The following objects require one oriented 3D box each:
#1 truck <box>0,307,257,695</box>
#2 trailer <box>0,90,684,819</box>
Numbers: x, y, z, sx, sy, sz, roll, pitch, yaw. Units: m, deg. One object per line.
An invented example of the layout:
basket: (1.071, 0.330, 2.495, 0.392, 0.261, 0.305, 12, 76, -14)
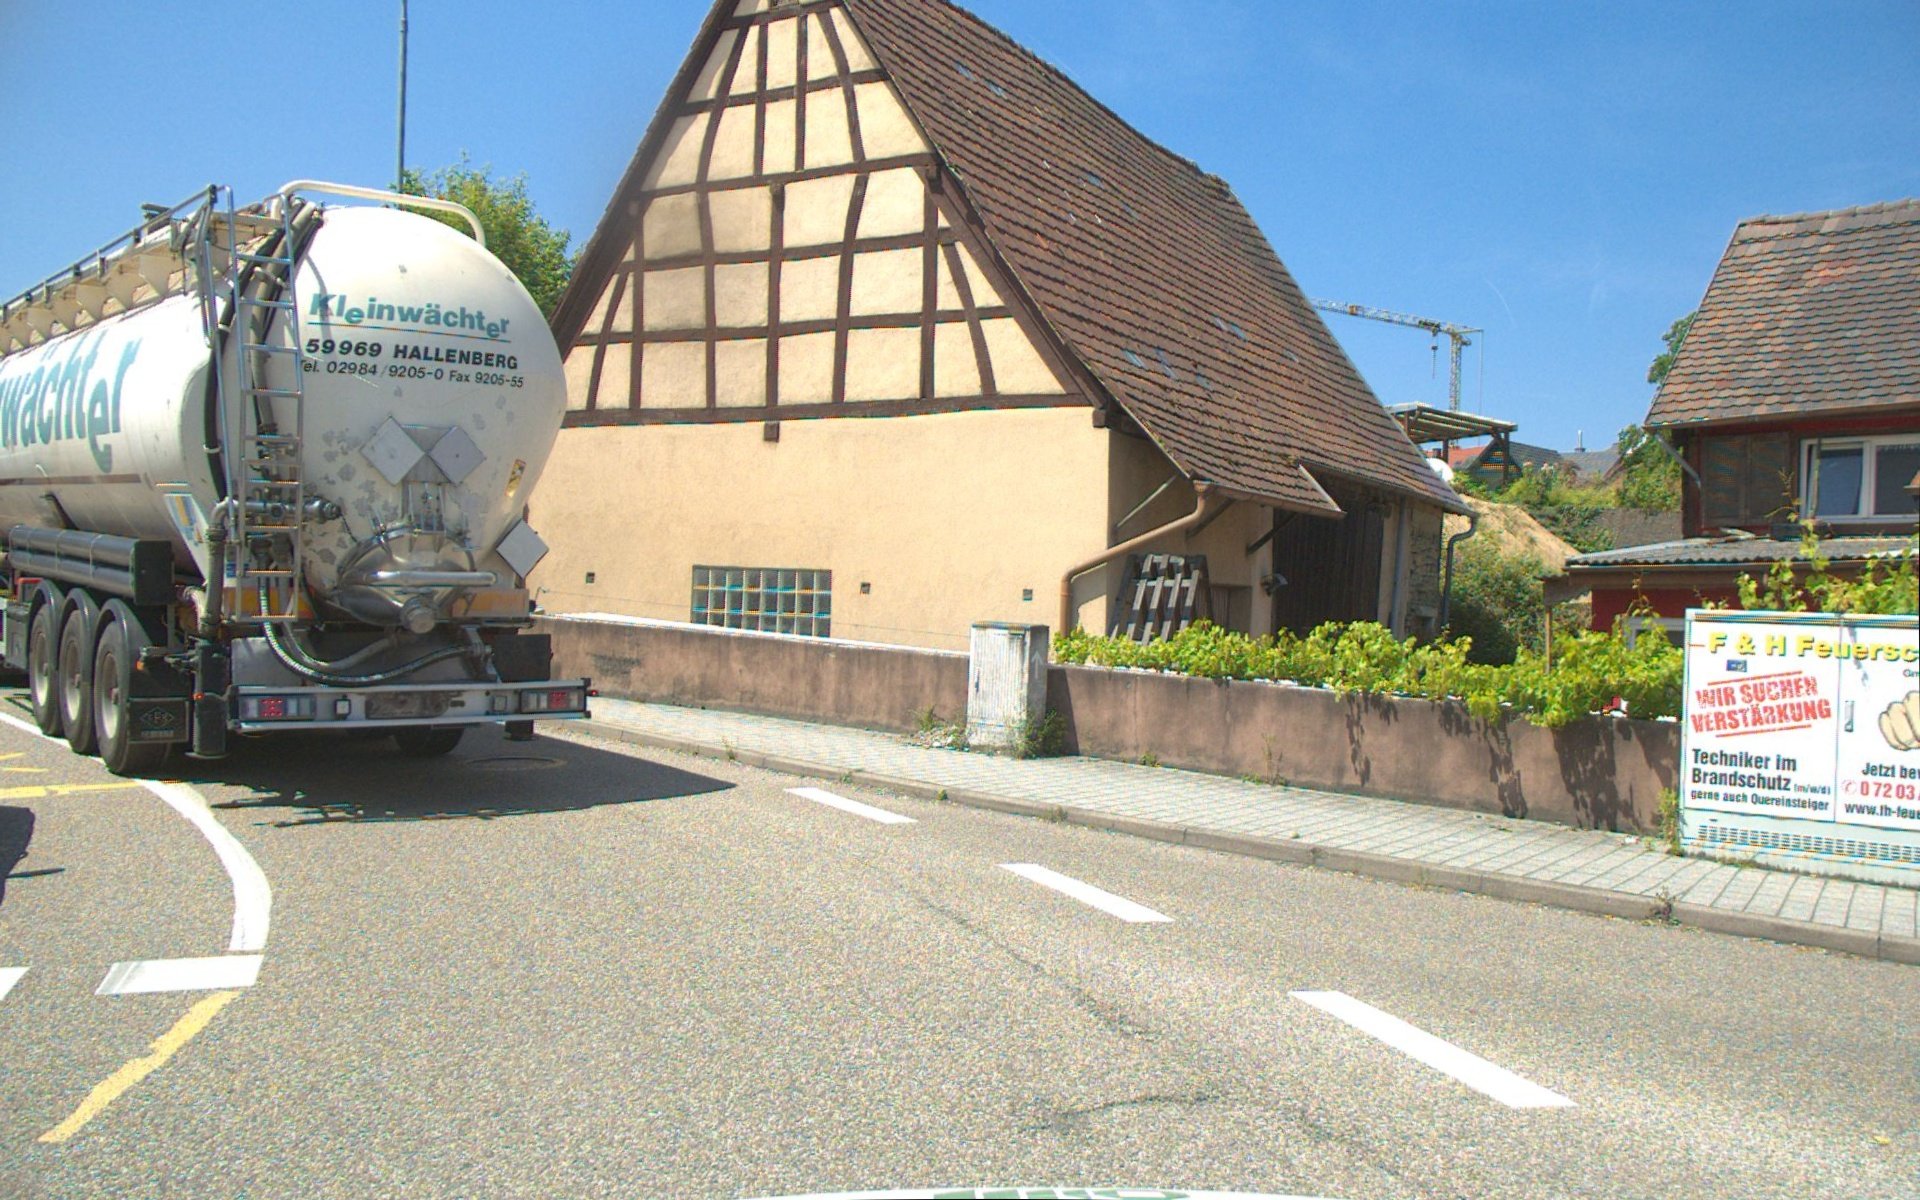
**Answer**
truck: (-11.179, -1.112, 19.962, 5.486, 4.034, 2.976, 3, 1, 45)
trailer: (-6.560, -0.947, 14.555, 2.932, 4.016, 11.462, 3, 0, -38)
